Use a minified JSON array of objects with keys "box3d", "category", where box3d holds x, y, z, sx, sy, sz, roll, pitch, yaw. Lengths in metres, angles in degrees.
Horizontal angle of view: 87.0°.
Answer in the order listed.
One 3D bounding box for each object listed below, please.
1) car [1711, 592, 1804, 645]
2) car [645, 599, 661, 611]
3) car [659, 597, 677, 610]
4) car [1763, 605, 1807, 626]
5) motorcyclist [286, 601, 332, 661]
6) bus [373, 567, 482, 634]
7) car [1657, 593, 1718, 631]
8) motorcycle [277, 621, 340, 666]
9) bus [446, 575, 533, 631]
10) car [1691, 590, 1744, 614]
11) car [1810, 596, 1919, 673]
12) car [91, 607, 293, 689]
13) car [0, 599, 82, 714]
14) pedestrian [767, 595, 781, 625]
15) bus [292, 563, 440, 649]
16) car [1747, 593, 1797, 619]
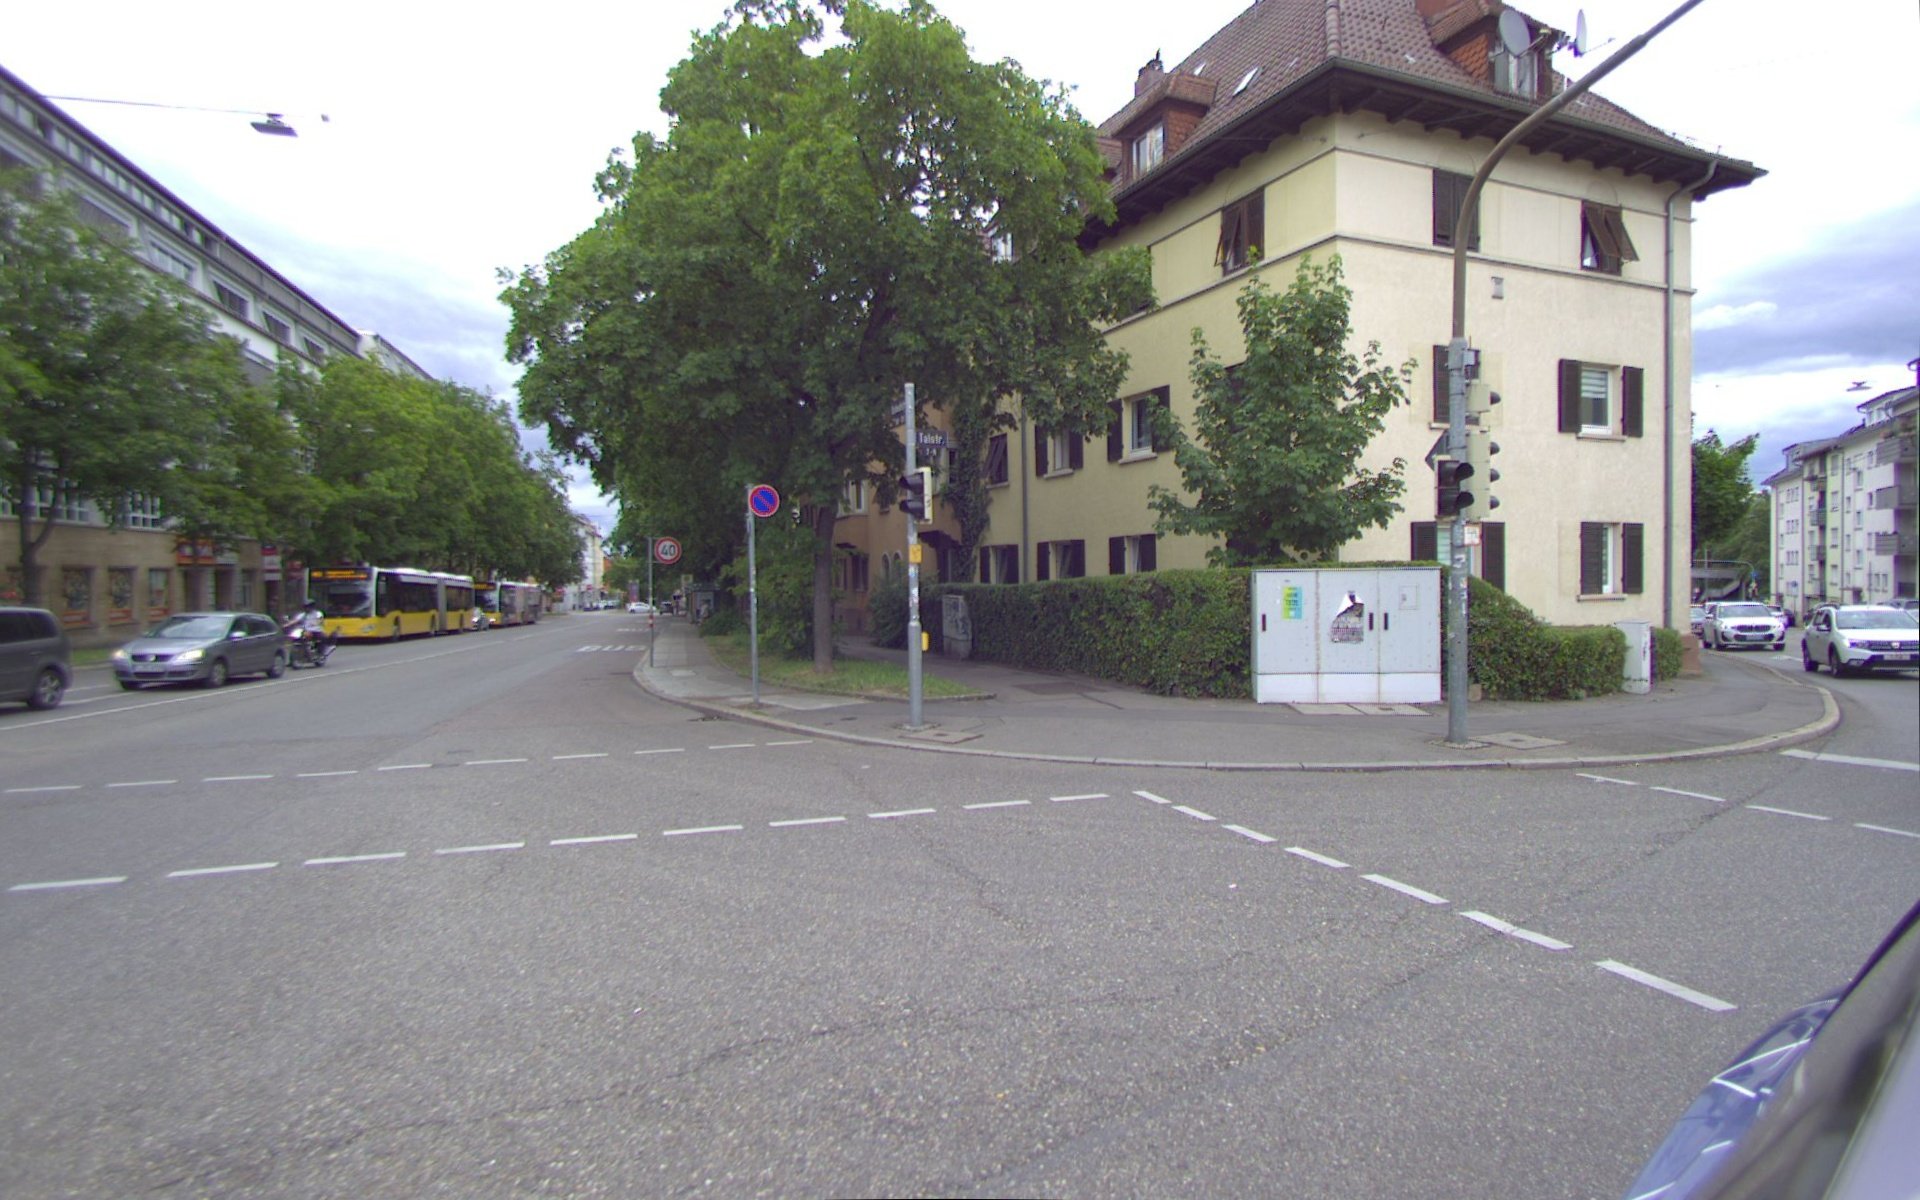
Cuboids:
[{"box3d":[27.026,0.580,34.415,1.884,1.665,3.958,0,0,30],"category":"car"},{"box3d":[-45.131,0.694,148.975,1.958,1.660,4.008,0,0,-13],"category":"car"},{"box3d":[-37.801,0.472,131.109,1.958,1.660,4.008,0,0,-13],"category":"car"},{"box3d":[61.762,1.108,75.841,1.759,1.420,3.724,1,1,27],"category":"car"},{"box3d":[-16.277,0.758,25.323,0.694,1.436,1.012,0,0,-14],"category":"motorcyclist"},{"box3d":[-27.394,0.004,52.606,2.819,3.088,10.953,0,0,-16],"category":"bus"},{"box3d":[33.605,0.573,46.845,1.885,1.602,3.956,1,-1,30],"category":"car"},{"box3d":[-16.282,1.059,25.355,0.625,1.000,2.402,0,0,-15],"category":"motorcycle"},{"box3d":[-31.699,0.152,68.738,3.373,3.384,12.862,0,0,-16],"category":"bus"},{"box3d":[44.727,0.104,59.828,1.866,1.372,4.105,-2,0,29],"category":"car"},{"box3d":[20.042,0.685,21.984,1.887,1.529,4.118,-1,0,33],"category":"car"},{"box3d":[-15.270,0.883,20.393,1.630,1.439,3.797,0,0,-9],"category":"car"},{"box3d":[-14.755,0.847,14.190,1.675,1.659,4.205,-1,0,-9],"category":"car"},{"box3d":[-11.600,0.621,62.947,0.761,1.798,0.662,0,0,-19],"category":"pedestrian"},{"box3d":[-24.457,0.196,42.325,2.803,3.148,10.423,0,0,-16],"category":"bus"},{"box3d":[49.469,0.344,61.707,1.587,1.465,3.499,1,1,26],"category":"car"}]
